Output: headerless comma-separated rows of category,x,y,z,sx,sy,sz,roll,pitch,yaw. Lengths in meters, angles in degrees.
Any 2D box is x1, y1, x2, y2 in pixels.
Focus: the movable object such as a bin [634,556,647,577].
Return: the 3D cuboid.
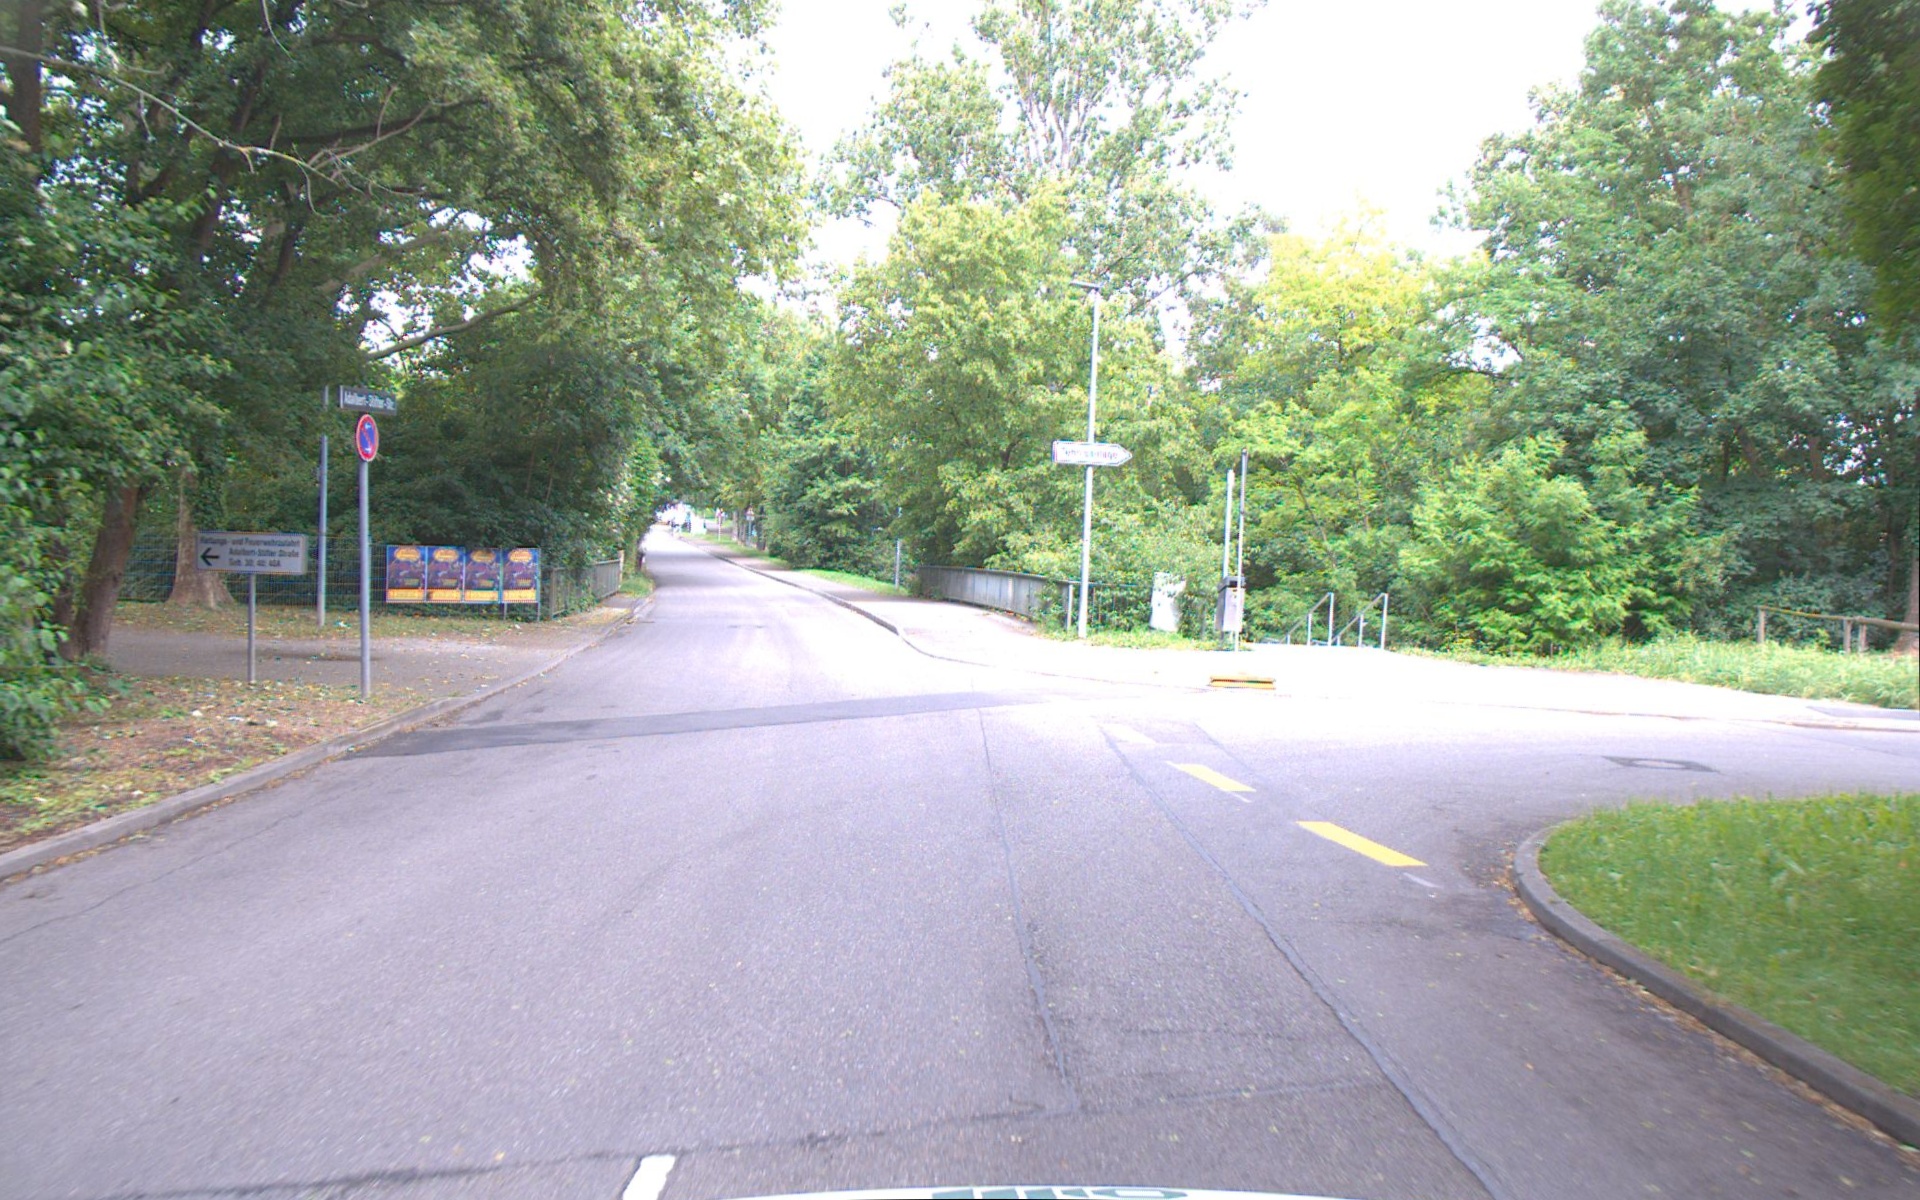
movable object such as a bin,-14.548,-1.524,75.340,0.579,0.974,0.469,2,0,-11
